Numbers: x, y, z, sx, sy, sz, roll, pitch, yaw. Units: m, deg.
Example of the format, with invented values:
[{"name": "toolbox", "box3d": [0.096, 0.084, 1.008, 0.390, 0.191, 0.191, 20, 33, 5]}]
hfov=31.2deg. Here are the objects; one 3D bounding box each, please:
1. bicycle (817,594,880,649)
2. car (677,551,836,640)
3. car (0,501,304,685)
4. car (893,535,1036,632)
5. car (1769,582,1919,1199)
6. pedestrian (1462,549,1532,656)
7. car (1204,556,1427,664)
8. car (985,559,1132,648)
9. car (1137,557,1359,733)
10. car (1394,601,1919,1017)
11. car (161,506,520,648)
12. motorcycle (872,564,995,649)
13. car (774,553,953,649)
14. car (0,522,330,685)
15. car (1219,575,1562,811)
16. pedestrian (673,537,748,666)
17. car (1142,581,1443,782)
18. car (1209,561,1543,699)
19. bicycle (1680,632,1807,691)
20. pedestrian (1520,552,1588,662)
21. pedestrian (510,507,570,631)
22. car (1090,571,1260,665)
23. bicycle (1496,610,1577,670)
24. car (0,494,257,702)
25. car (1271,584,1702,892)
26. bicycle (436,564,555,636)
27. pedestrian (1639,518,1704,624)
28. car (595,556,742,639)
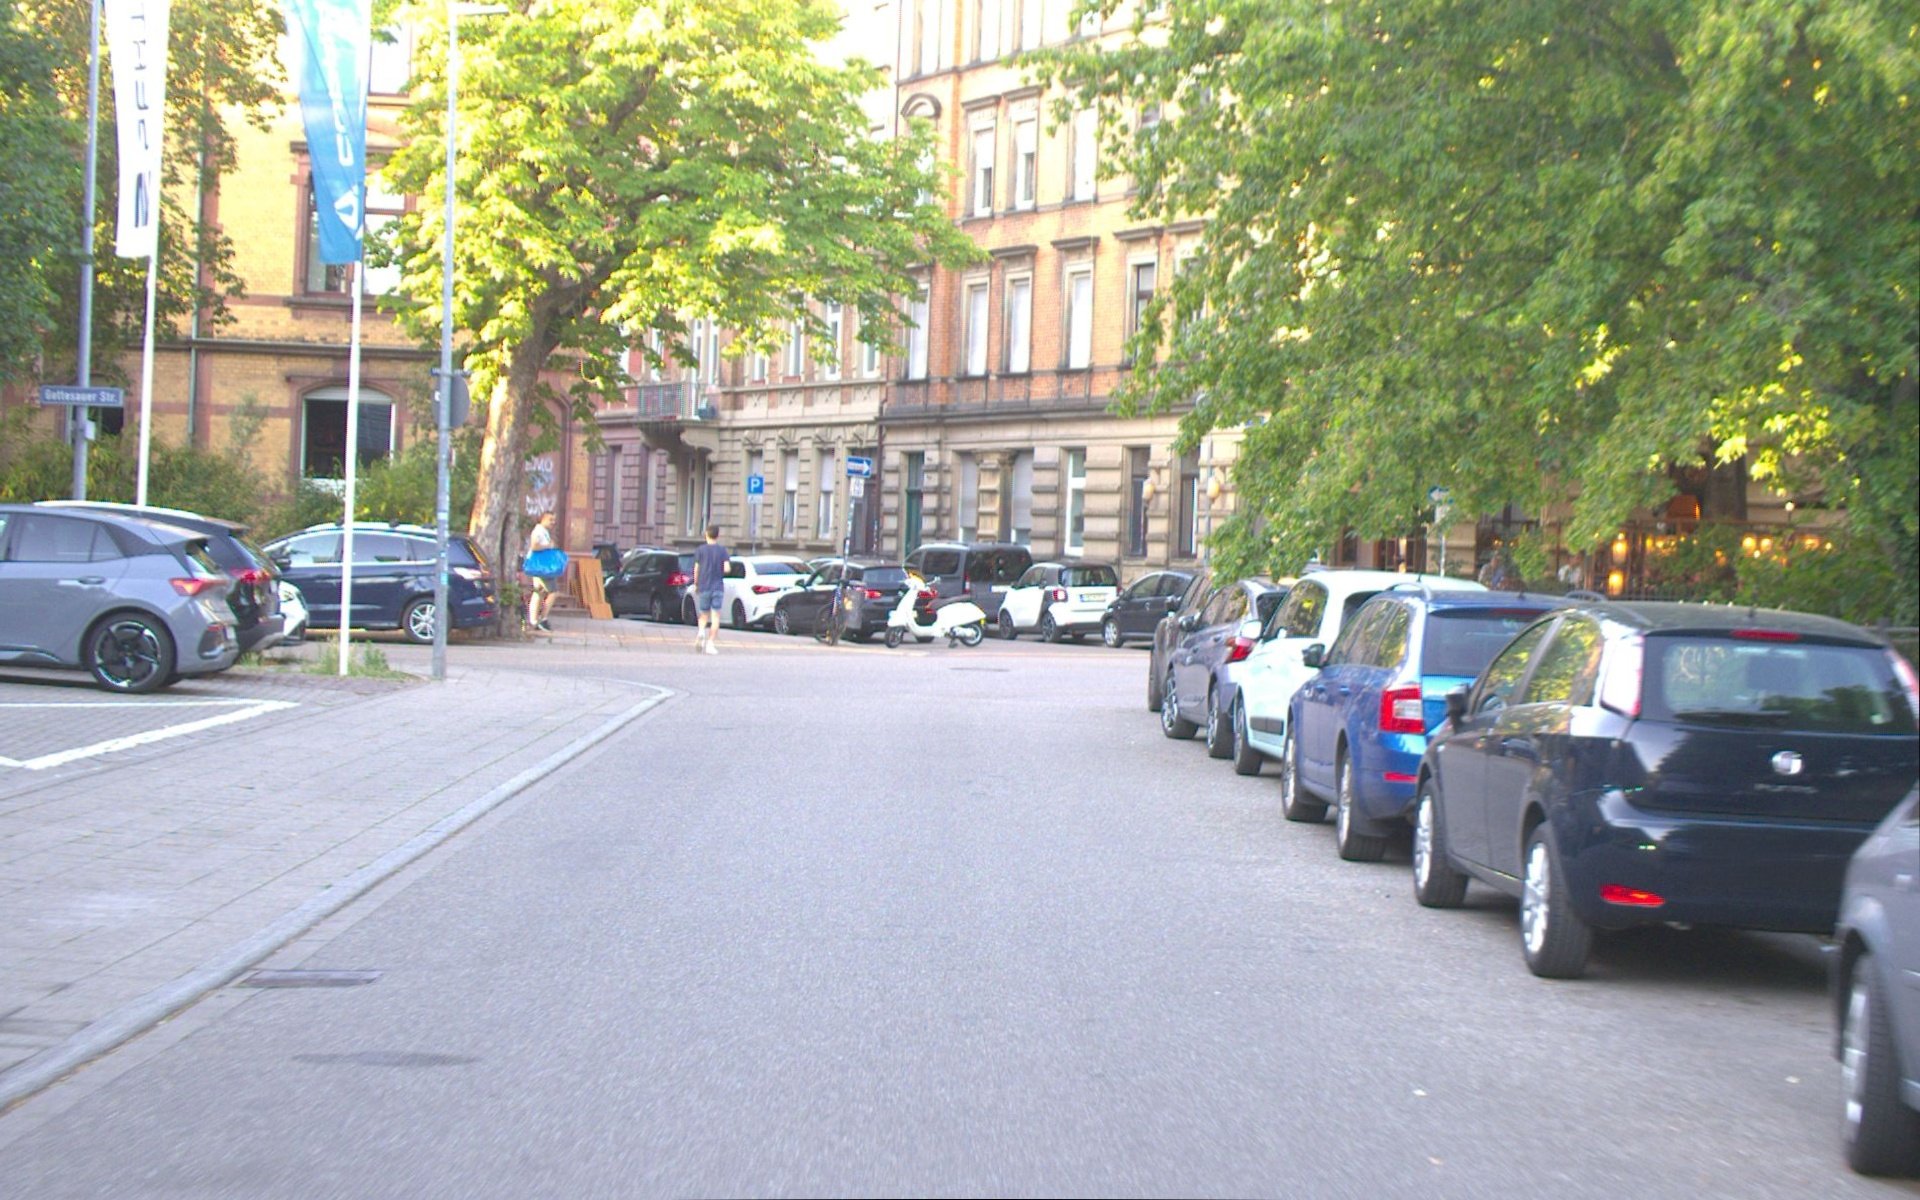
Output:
[{"name": "bicycle", "box3d": [-1.777, 0.338, 54.920, 0.425, 0.819, 1.460, 3, 2, 21]}, {"name": "car", "box3d": [-3.876, -0.103, 64.911, 1.654, 1.426, 4.168, 2, 2, -23]}, {"name": "car", "box3d": [-8.500, -0.111, 33.009, 4.066, 1.612, 1.765, 2, 2, -2]}, {"name": "car", "box3d": [0.074, -0.338, 68.864, 1.674, 1.776, 3.016, 2, 1, -25]}, {"name": "car", "box3d": [3.215, 0.802, 7.767, 1.759, 1.598, 3.874, 2, 1, -1]}, {"name": "pedestrian", "box3d": [9.307, 0.044, 59.596, 0.840, 1.798, 0.776, 2, 1, -21]}, {"name": "car", "box3d": [5.884, 0.147, 57.363, 1.914, 1.520, 3.897, 2, 2, -25]}, {"name": "car", "box3d": [1.856, 0.061, 65.417, 1.674, 1.520, 2.768, 2, 1, -25]}, {"name": "car", "box3d": [2.766, 0.392, 33.779, 1.695, 1.565, 3.972, 2, 1, -1]}, {"name": "car", "box3d": [2.956, 0.788, 14.809, 1.596, 1.472, 3.774, 2, 1, -1]}, {"name": "car", "box3d": [-8.756, -0.338, 48.934, 4.828, 1.726, 1.921, 3, 2, -6]}, {"name": "motorcycle", "box3d": [-0.441, 0.109, 57.036, 1.931, 1.336, 0.577, 2, 1, -11]}, {"name": "car", "box3d": [-1.734, 0.003, 60.169, 1.654, 1.426, 3.991, 2, 2, -24]}, {"name": "car", "box3d": [-9.059, 0.004, 37.458, 4.044, 1.470, 1.921, 4, 1, -4]}, {"name": "car", "box3d": [2.958, 0.599, 24.323, 1.695, 1.472, 3.560, 2, 1, -4]}, {"name": "pedestrian", "box3d": [-3.598, 0.013, 49.490, 0.735, 1.798, 1.122, 2, 1, -21]}, {"name": "car", "box3d": [2.693, 0.621, 28.746, 1.695, 1.472, 4.213, 2, 1, -5]}, {"name": "car", "box3d": [4.952, 0.361, 40.597, 1.880, 1.461, 3.961, 4, 2, 43]}, {"name": "bicycle", "box3d": [12.507, 0.979, 54.850, 1.967, 0.882, 0.401, 2, 1, -14]}, {"name": "pedestrian", "box3d": [9.994, 0.116, 57.899, 0.773, 1.798, 0.843, 2, 1, -15]}, {"name": "pedestrian", "box3d": [-6.414, -0.479, 52.492, 0.815, 1.846, 0.803, 2, 1, -5]}, {"name": "car", "box3d": [3.846, 0.303, 61.894, 1.674, 1.520, 3.244, 1, 2, -25]}, {"name": "bicycle", "box3d": [9.419, 0.643, 56.212, 0.319, 0.911, 1.364, 1, 2, -42]}, {"name": "car", "box3d": [-8.418, -0.109, 30.005, 4.129, 1.612, 1.913, 4, 1, -2]}, {"name": "car", "box3d": [2.843, 0.687, 19.402, 1.695, 1.472, 4.117, 2, 1, -1]}, {"name": "bicycle", "box3d": [-6.964, 0.008, 51.577, 1.671, 1.025, 0.446, 1, 2, -24]}, {"name": "pedestrian", "box3d": [12.183, -0.502, 58.885, 0.773, 1.798, 0.843, 0, 2, -15]}, {"name": "car", "box3d": [-5.887, -0.072, 69.042, 1.654, 1.426, 3.897, 2, 2, -25]}]
